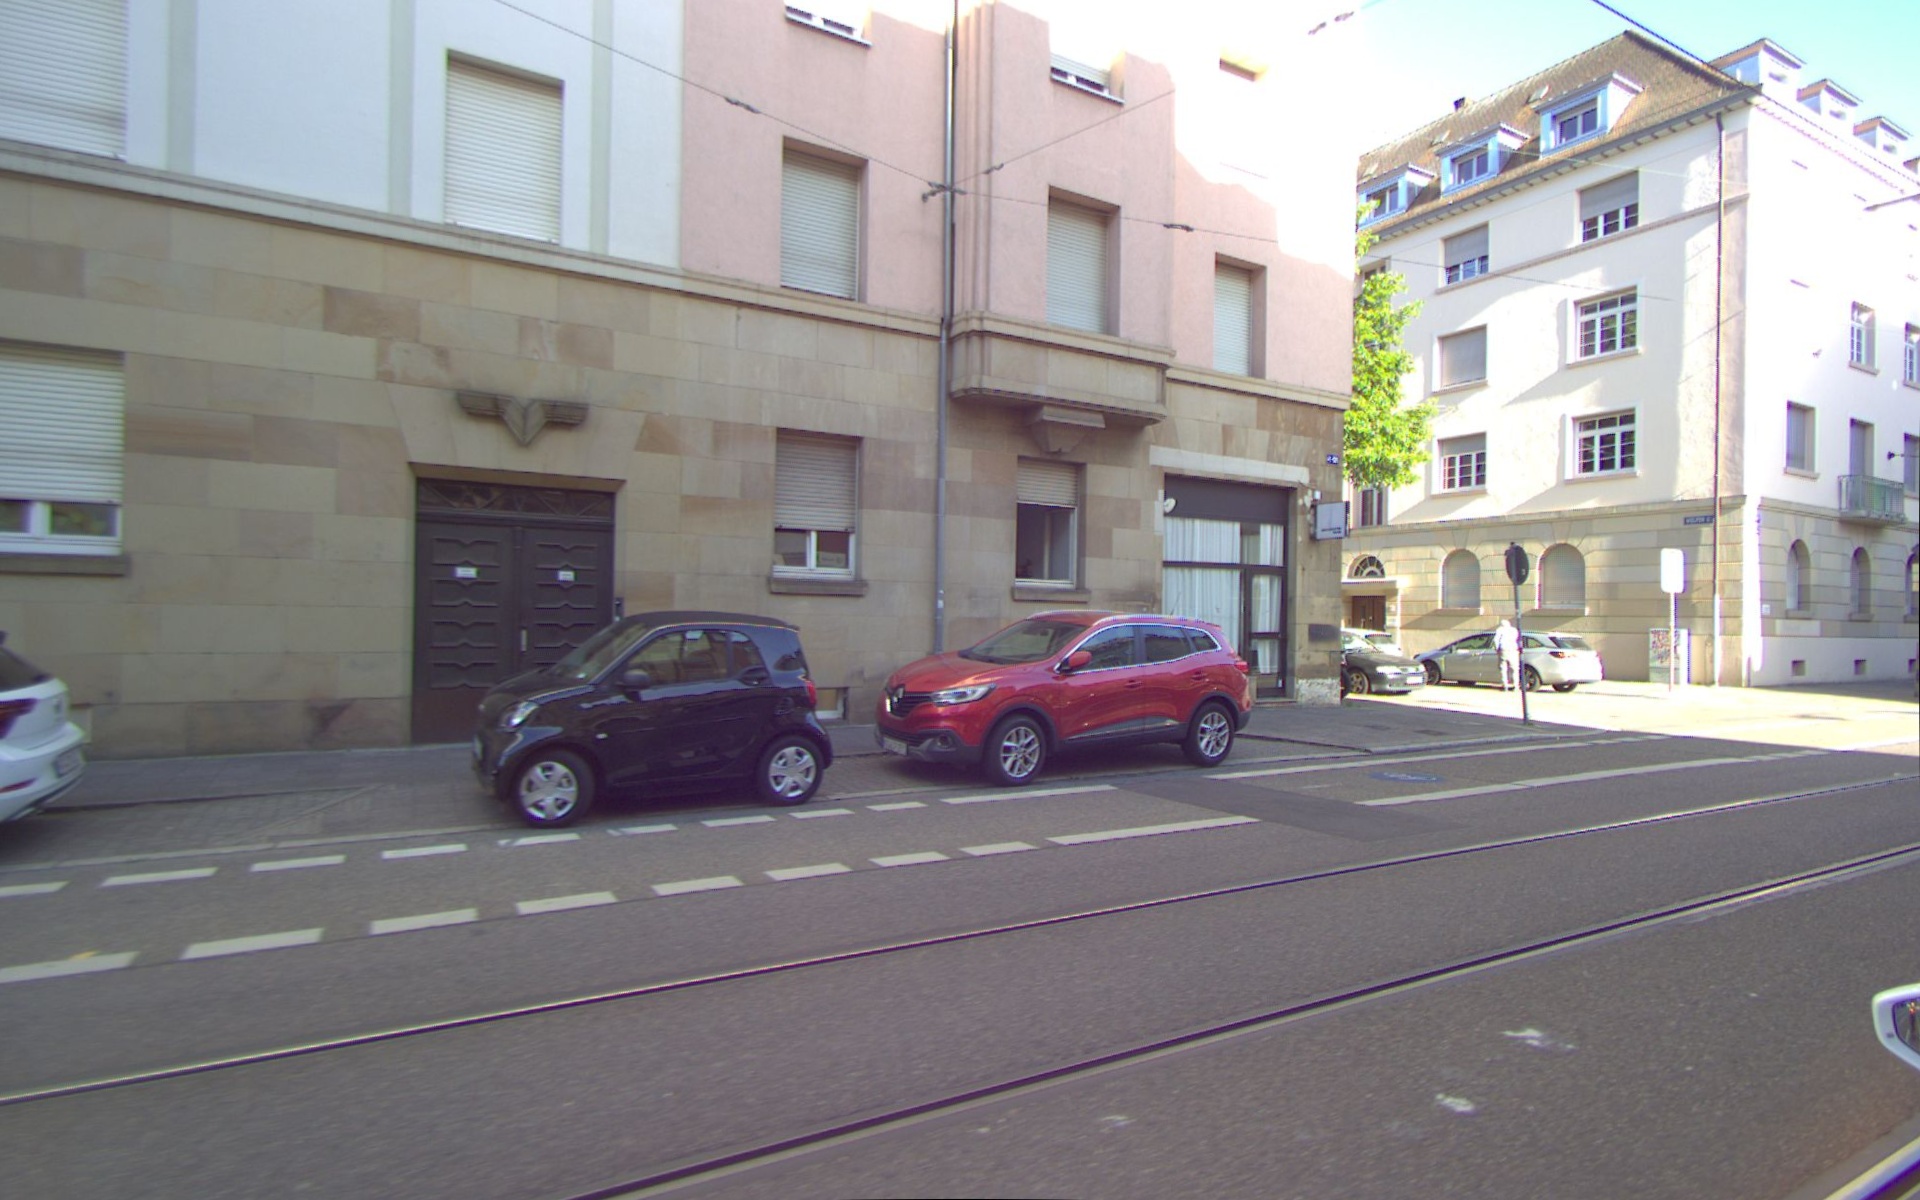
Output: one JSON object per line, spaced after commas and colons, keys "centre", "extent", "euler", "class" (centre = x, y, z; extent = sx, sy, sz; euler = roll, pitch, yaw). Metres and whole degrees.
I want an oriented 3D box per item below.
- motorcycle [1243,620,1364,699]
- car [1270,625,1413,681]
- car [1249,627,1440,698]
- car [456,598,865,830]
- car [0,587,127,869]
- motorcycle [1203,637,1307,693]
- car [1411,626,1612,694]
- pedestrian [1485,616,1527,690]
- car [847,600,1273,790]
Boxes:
{"centre": [6.580, 1.122, 19.326], "extent": [1.985, 1.437, 0.951], "euler": [1, -1, 1], "class": "motorcycle"}
{"centre": [11.447, 1.553, 30.341], "extent": [1.819, 1.484, 3.778], "euler": [0, 0, -30], "class": "car"}
{"centre": [8.812, 1.374, 23.334], "extent": [1.727, 1.413, 3.968], "euler": [0, 0, -30], "class": "car"}
{"centre": [-2.544, 0.825, 8.501], "extent": [2.983, 1.573, 1.775], "euler": [1, 1, -30], "class": "car"}
{"centre": [-7.665, 0.724, 5.808], "extent": [4.133, 1.643, 1.773], "euler": [1, 1, -32], "class": "car"}
{"centre": [5.985, 1.306, 20.432], "extent": [1.995, 1.049, 0.557], "euler": [1, -1, 17], "class": "motorcycle"}
{"centre": [13.856, 1.445, 25.499], "extent": [1.761, 1.484, 4.197], "euler": [0, 0, -30], "class": "car"}
{"centre": [13.103, 1.262, 24.100], "extent": [0.723, 1.735, 0.604], "euler": [1, -1, -30], "class": "pedestrian"}
{"centre": [1.151, 0.884, 10.776], "extent": [4.348, 1.628, 1.773], "euler": [1, 1, -32], "class": "car"}
